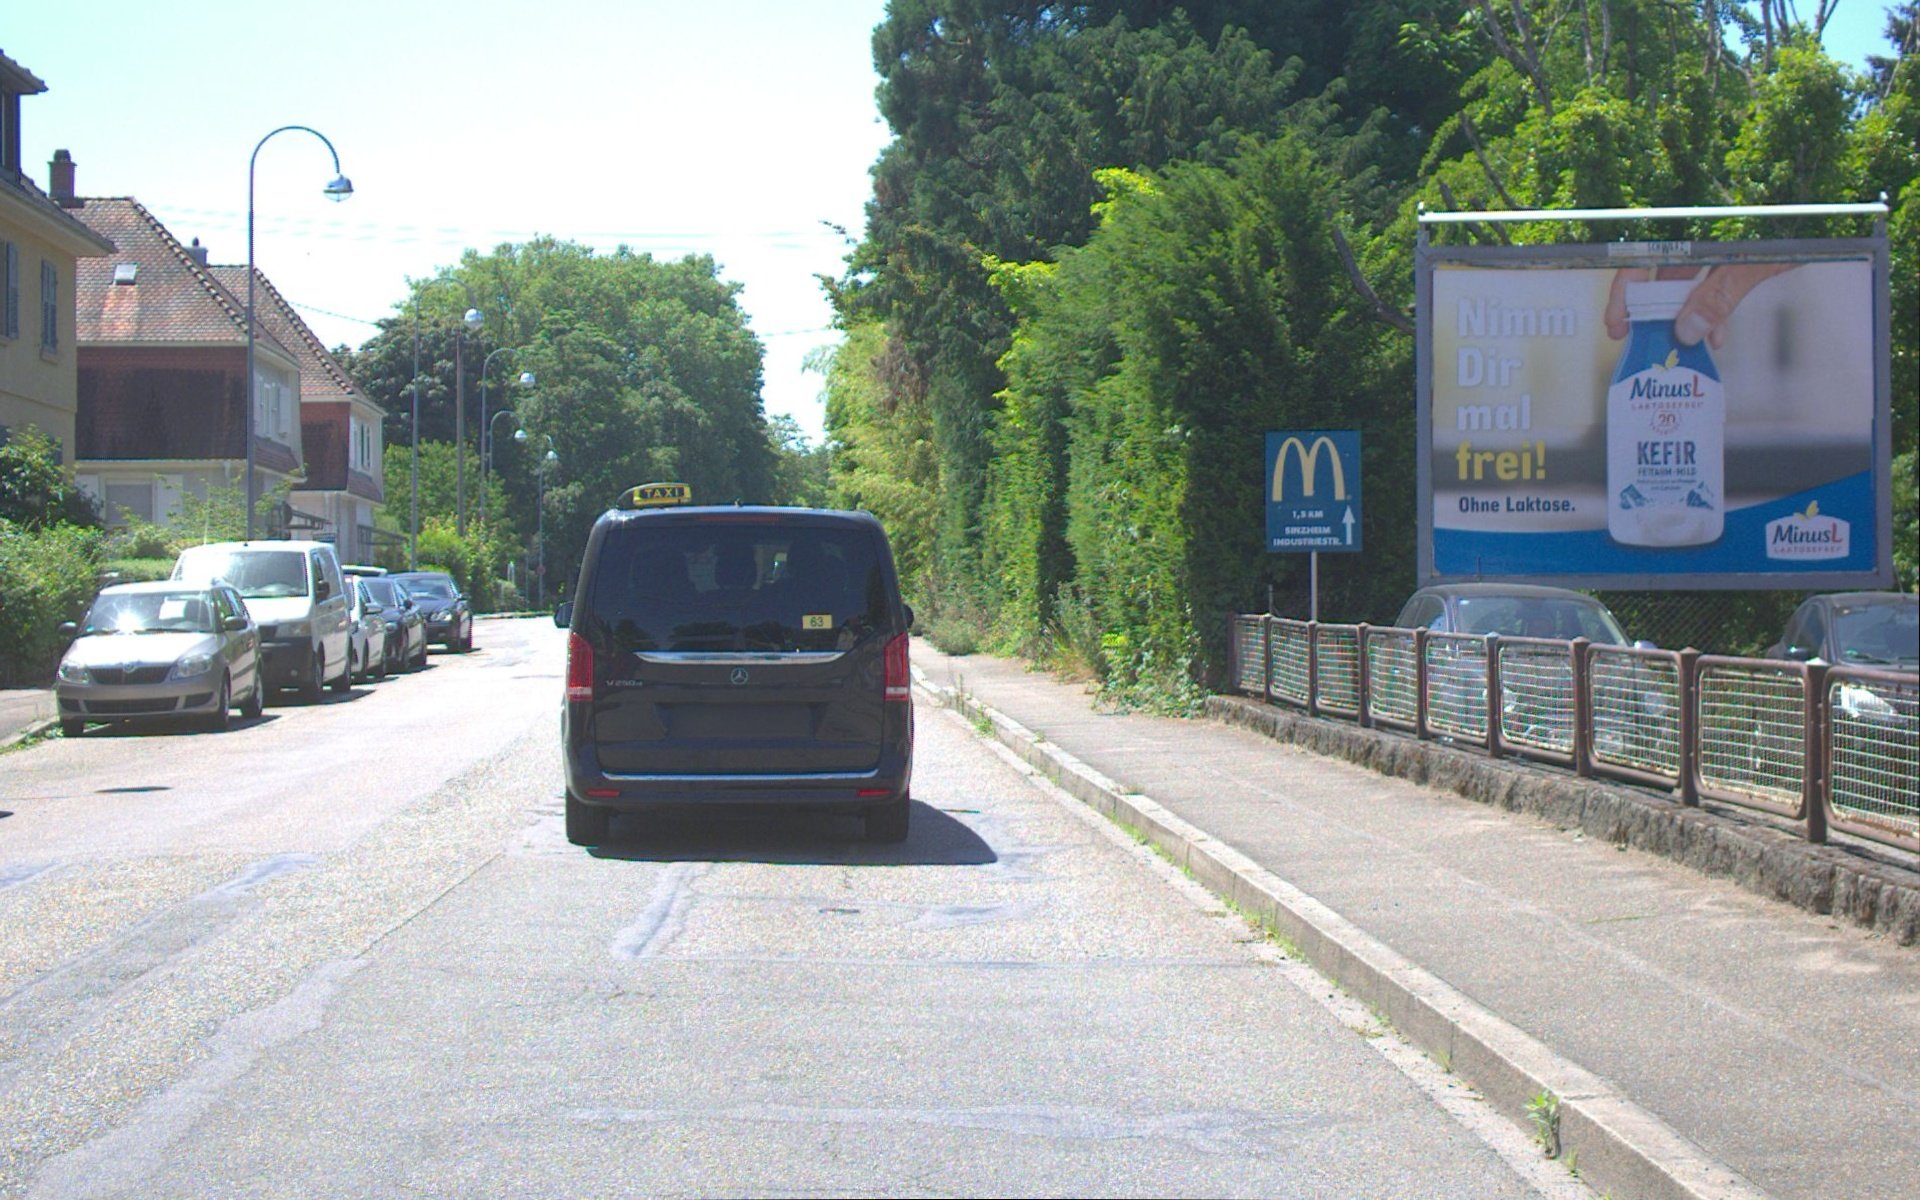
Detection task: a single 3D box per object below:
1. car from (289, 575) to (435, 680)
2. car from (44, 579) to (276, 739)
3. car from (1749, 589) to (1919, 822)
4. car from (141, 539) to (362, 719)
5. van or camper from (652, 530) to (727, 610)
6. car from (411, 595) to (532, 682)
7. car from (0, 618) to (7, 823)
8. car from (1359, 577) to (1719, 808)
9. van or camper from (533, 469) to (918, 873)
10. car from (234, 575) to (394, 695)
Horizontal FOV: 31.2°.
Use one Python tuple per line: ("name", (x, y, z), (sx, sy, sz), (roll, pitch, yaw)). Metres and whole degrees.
("car", (-8.921, 0.378, 51.585), (1.665, 1.487, 4.466), (0, 1, -4))
("car", (-8.124, 0.561, 35.216), (1.686, 1.520, 4.063), (0, 1, -4))
("car", (6.843, 0.747, 24.781), (1.631, 1.538, 3.392), (3, 0, 4))
("car", (-8.433, 0.297, 41.272), (1.878, 1.956, 4.626), (-3, 1, -3))
("van or camper", (-8.912, -0.965, 112.938), (2.262, 2.520, 4.760), (-2, 0, -6))
("car", (-8.629, 0.655, 61.008), (1.666, 1.381, 4.380), (-2, 1, -3))
("car", (-7.112, 0.778, 21.001), (1.715, 1.480, 4.077), (-2, 0, -5))
("car", (4.093, 0.613, 24.840), (1.631, 1.454, 3.557), (3, 0, -5))
("van or camper", (-1.326, 0.344, 19.872), (1.902, 2.007, 5.270), (1, 0, -3))
("car", (-8.767, 0.446, 46.878), (1.666, 1.487, 3.478), (-3, 1, -3))
